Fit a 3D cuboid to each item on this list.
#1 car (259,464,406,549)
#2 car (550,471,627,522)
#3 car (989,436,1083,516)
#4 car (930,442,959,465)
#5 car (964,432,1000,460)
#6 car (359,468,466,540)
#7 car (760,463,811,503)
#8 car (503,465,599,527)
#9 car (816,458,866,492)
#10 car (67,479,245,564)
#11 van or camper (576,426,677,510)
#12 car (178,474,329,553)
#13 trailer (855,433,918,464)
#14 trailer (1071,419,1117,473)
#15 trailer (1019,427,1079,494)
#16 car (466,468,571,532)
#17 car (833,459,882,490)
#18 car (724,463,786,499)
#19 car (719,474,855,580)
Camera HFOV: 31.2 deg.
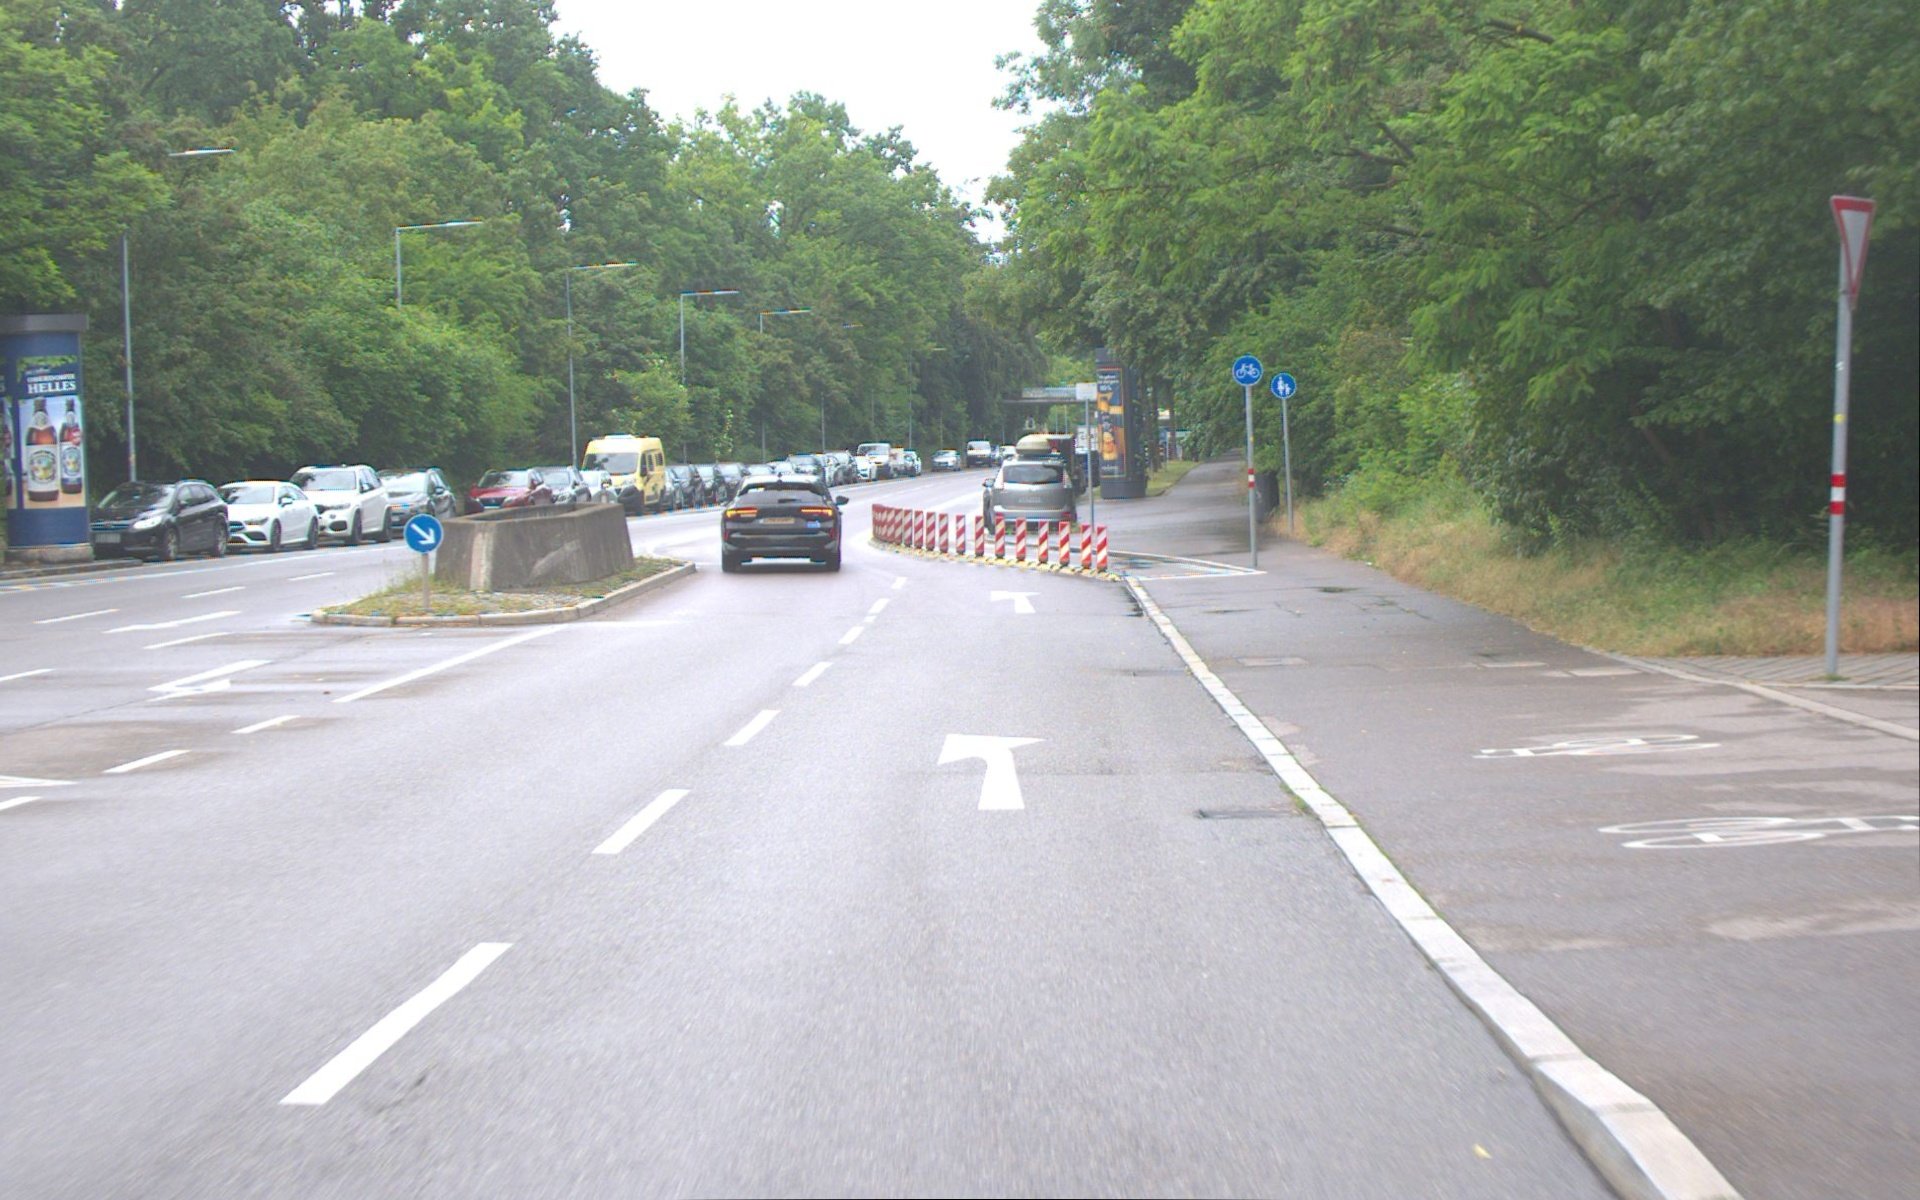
[{"bbox_3d":[-13.746,-2.078,75.561,1.994,1.759,4.960,-1,2,4],"label":"car"},{"bbox_3d":[-11.382,-3.184,105.508,1.618,1.443,3.657,-2,3,5],"label":"car"},{"bbox_3d":[1.553,-2.594,71.606,1.822,1.609,4.252,-1,2,0],"label":"car"},{"bbox_3d":[-1.041,-9.852,230.686,1.672,1.508,3.630,0,3,4],"label":"car"},{"bbox_3d":[1.652,-11.483,255.763,2.159,2.006,5.030,-1,3,6],"label":"car"},{"bbox_3d":[-13.177,-2.334,82.944,1.731,1.643,4.572,-1,3,1],"label":"car"},{"bbox_3d":[-7.311,-4.913,144.444,1.696,1.578,4.139,-1,3,3],"label":"car"},{"bbox_3d":[-11.892,-3.049,100.161,1.994,1.694,4.616,-1,3,3],"label":"car"},{"bbox_3d":[-5.784,-6.098,166.976,1.880,1.556,4.468,-1,3,5],"label":"car"},{"bbox_3d":[-14.882,-1.483,63.902,1.749,1.440,4.586,0,3,7],"label":"car"},{"bbox_3d":[-10.805,-4.326,111.809,2.144,2.618,5.682,-1,3,5],"label":"van or camper"},{"bbox_3d":[-14.262,-1.779,69.655,1.718,1.455,4.708,-1,3,4],"label":"car"},{"bbox_3d":[-4.065,-8.398,190.585,1.629,1.623,3.665,1,3,36],"label":"trailer"},{"bbox_3d":[6.495,-7.483,166.721,2.132,2.551,4.298,-1,3,2],"label":"trailer"},{"bbox_3d":[3.134,-4.900,120.344,1.906,2.239,4.768,-1,3,4],"label":"trailer"},{"bbox_3d":[-12.149,-2.785,94.867,1.919,1.611,4.489,-2,2,5],"label":"car"},{"bbox_3d":[-5.176,-6.389,174.398,1.994,1.483,4.468,-1,3,5],"label":"car"},{"bbox_3d":[-8.180,-4.764,137.345,1.870,1.299,4.470,-1,3,4],"label":"car"},{"bbox_3d":[-2.652,-1.130,52.003,1.880,1.460,4.001,0,3,-5],"label":"car"}]
